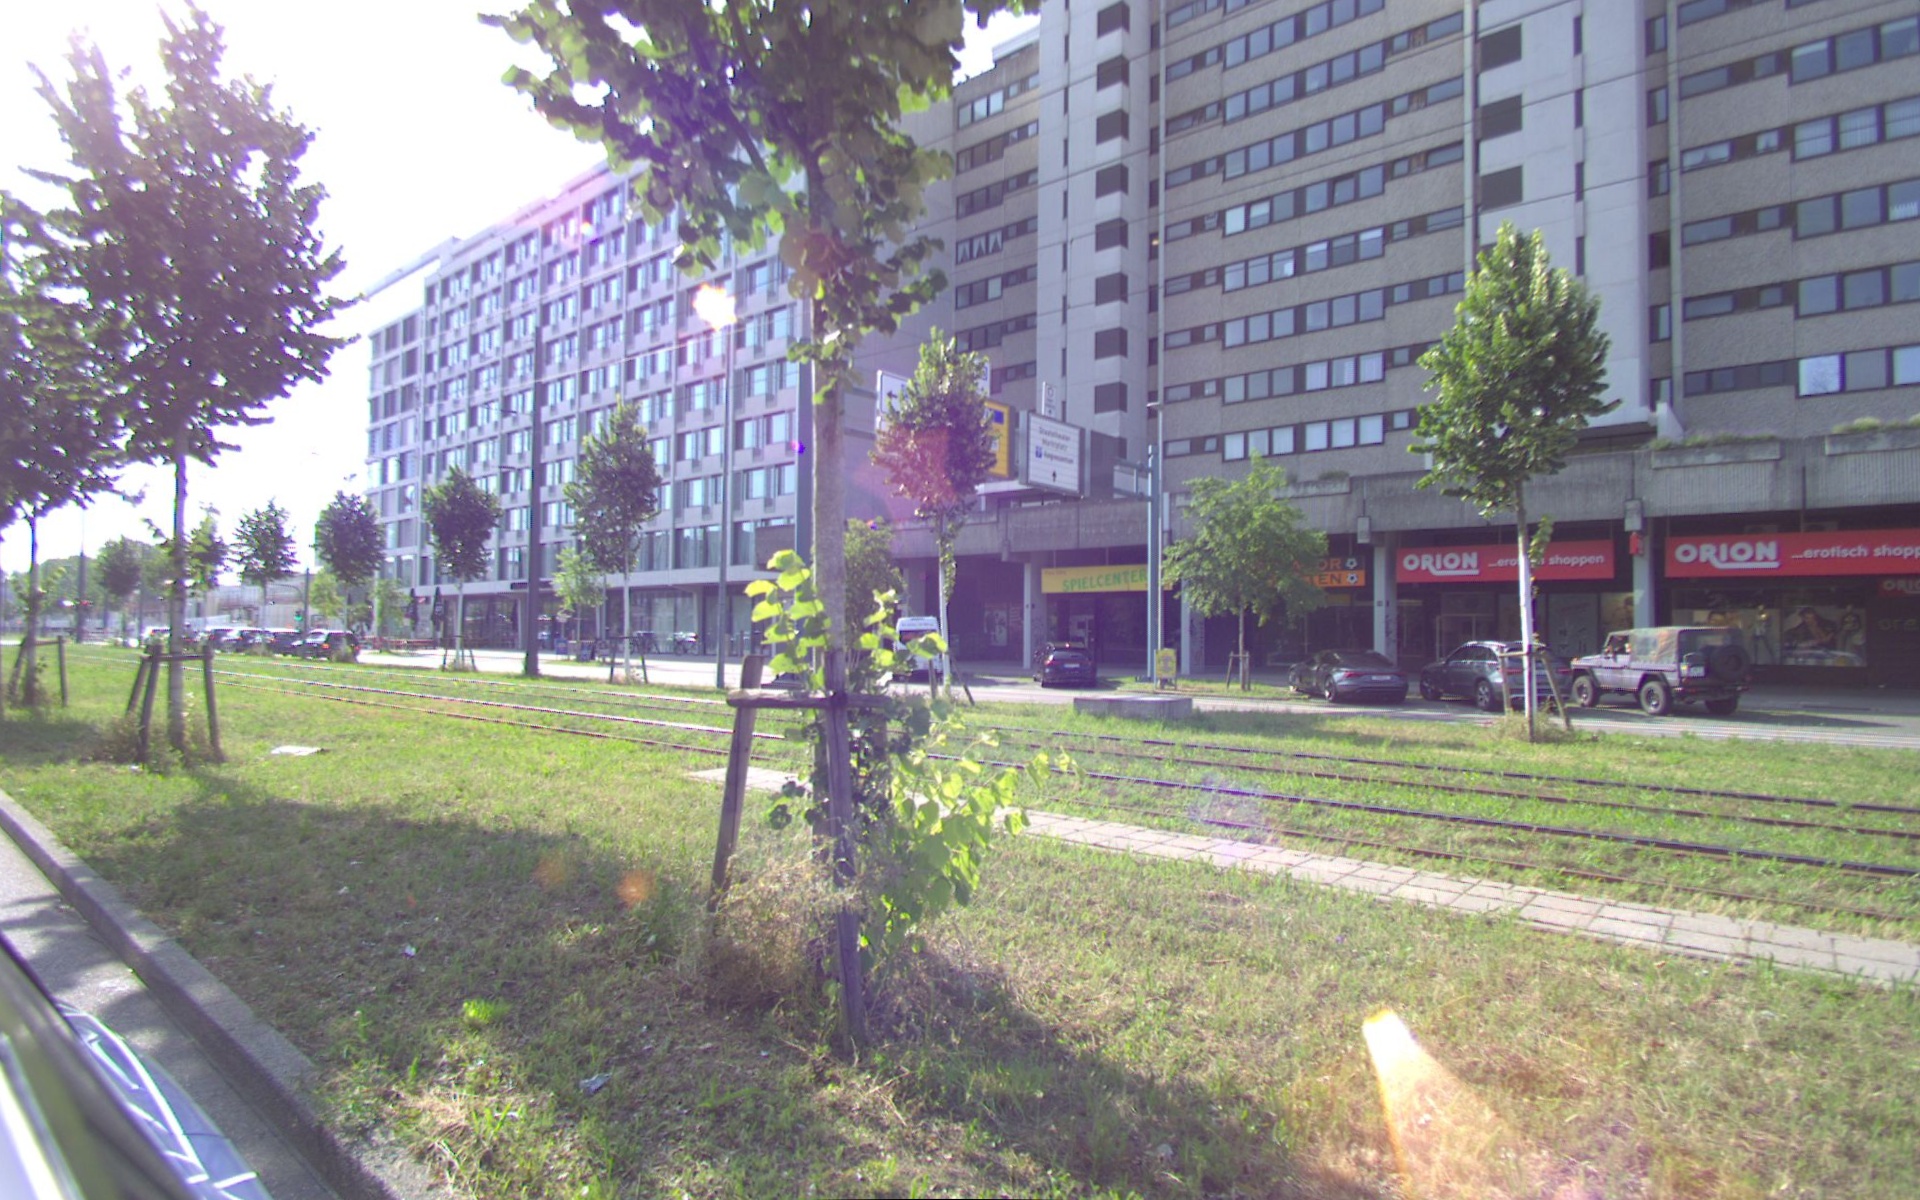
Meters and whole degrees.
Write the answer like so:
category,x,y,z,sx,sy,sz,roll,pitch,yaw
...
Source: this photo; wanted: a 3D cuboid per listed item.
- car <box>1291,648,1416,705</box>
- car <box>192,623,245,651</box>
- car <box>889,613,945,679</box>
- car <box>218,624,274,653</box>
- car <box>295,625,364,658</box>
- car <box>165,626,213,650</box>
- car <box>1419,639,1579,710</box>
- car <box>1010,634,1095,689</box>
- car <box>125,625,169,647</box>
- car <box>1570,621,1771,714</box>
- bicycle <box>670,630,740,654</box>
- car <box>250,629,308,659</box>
category,x,y,z,sx,sy,sz,roll,pitch,yaw
car,10.712,2.048,27.857,1.854,1.253,4.110,-1,0,1
car,-44.234,2.191,60.340,4.000,1.586,1.787,-1,-3,43
car,-1.581,1.744,38.979,1.859,2.326,5.407,0,-2,0
car,-40.082,2.131,56.771,4.000,1.586,1.787,-1,-3,43
car,-29.558,1.928,47.413,4.000,1.492,1.787,-1,-3,43
car,-49.310,2.413,64.737,4.000,1.486,1.787,-1,-3,43
car,13.430,1.802,25.538,1.854,1.618,4.109,0,-2,1
car,3.027,2.005,34.078,2.070,1.594,4.005,-2,-1,-6
car,-57.233,2.506,71.204,3.998,1.536,1.764,-1,-3,42
car,16.564,1.522,23.900,1.854,1.983,4.109,0,-2,1
bicycle,-15.243,2.499,60.660,3.937,1.377,1.128,2,-3,-40
car,-35.330,2.247,52.503,3.641,1.498,1.722,-1,-3,43
